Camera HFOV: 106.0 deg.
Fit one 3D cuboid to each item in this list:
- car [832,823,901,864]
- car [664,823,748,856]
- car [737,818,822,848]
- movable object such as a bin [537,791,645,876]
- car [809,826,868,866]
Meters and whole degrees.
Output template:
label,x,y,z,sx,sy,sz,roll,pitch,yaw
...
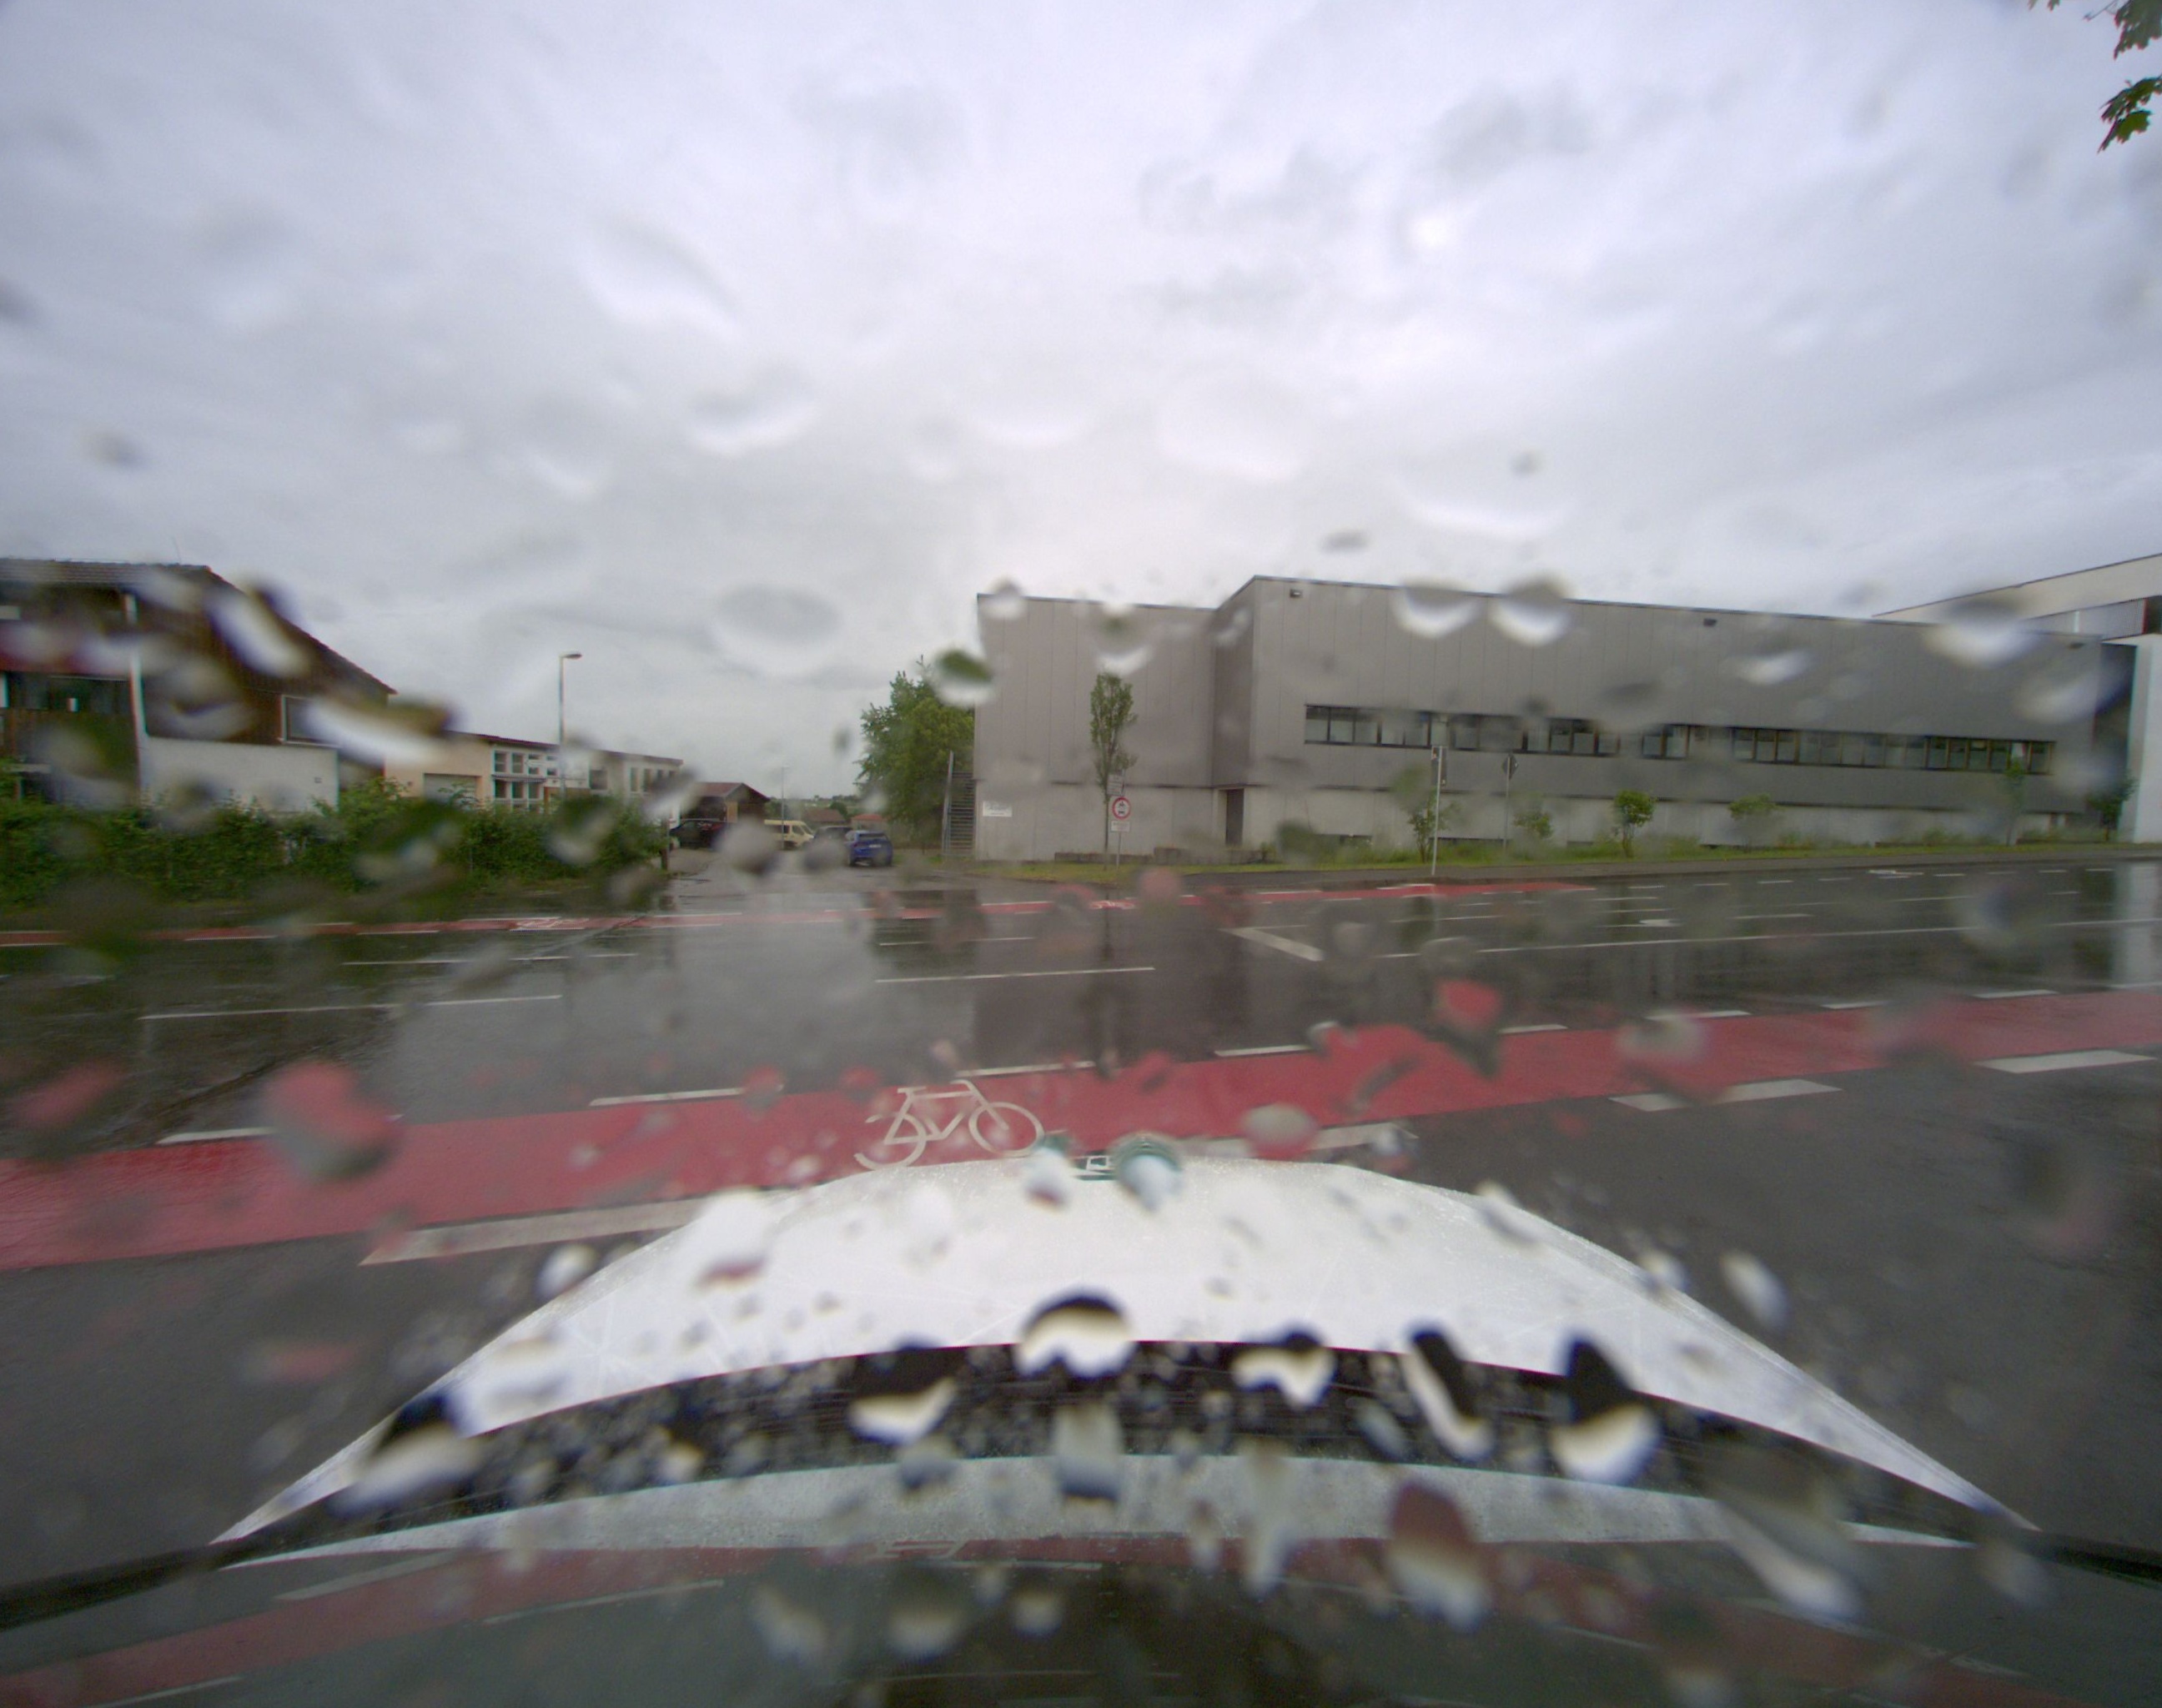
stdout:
label,x,y,z,sx,sy,sz,roll,pitch,yaw
car,-9.205,-0.471,34.756,1.962,1.610,4.408,-1,1,-27
car,-22.227,-0.832,48.339,4.358,1.904,2.010,0,1,21
car,-24.540,-1.718,66.432,5.992,2.414,2.462,0,1,-2
movable object such as a bin,-15.675,-0.658,26.249,1.731,2.556,3.332,0,1,-7
car,-12.023,-0.406,40.231,2.085,1.834,4.433,-1,1,-26
